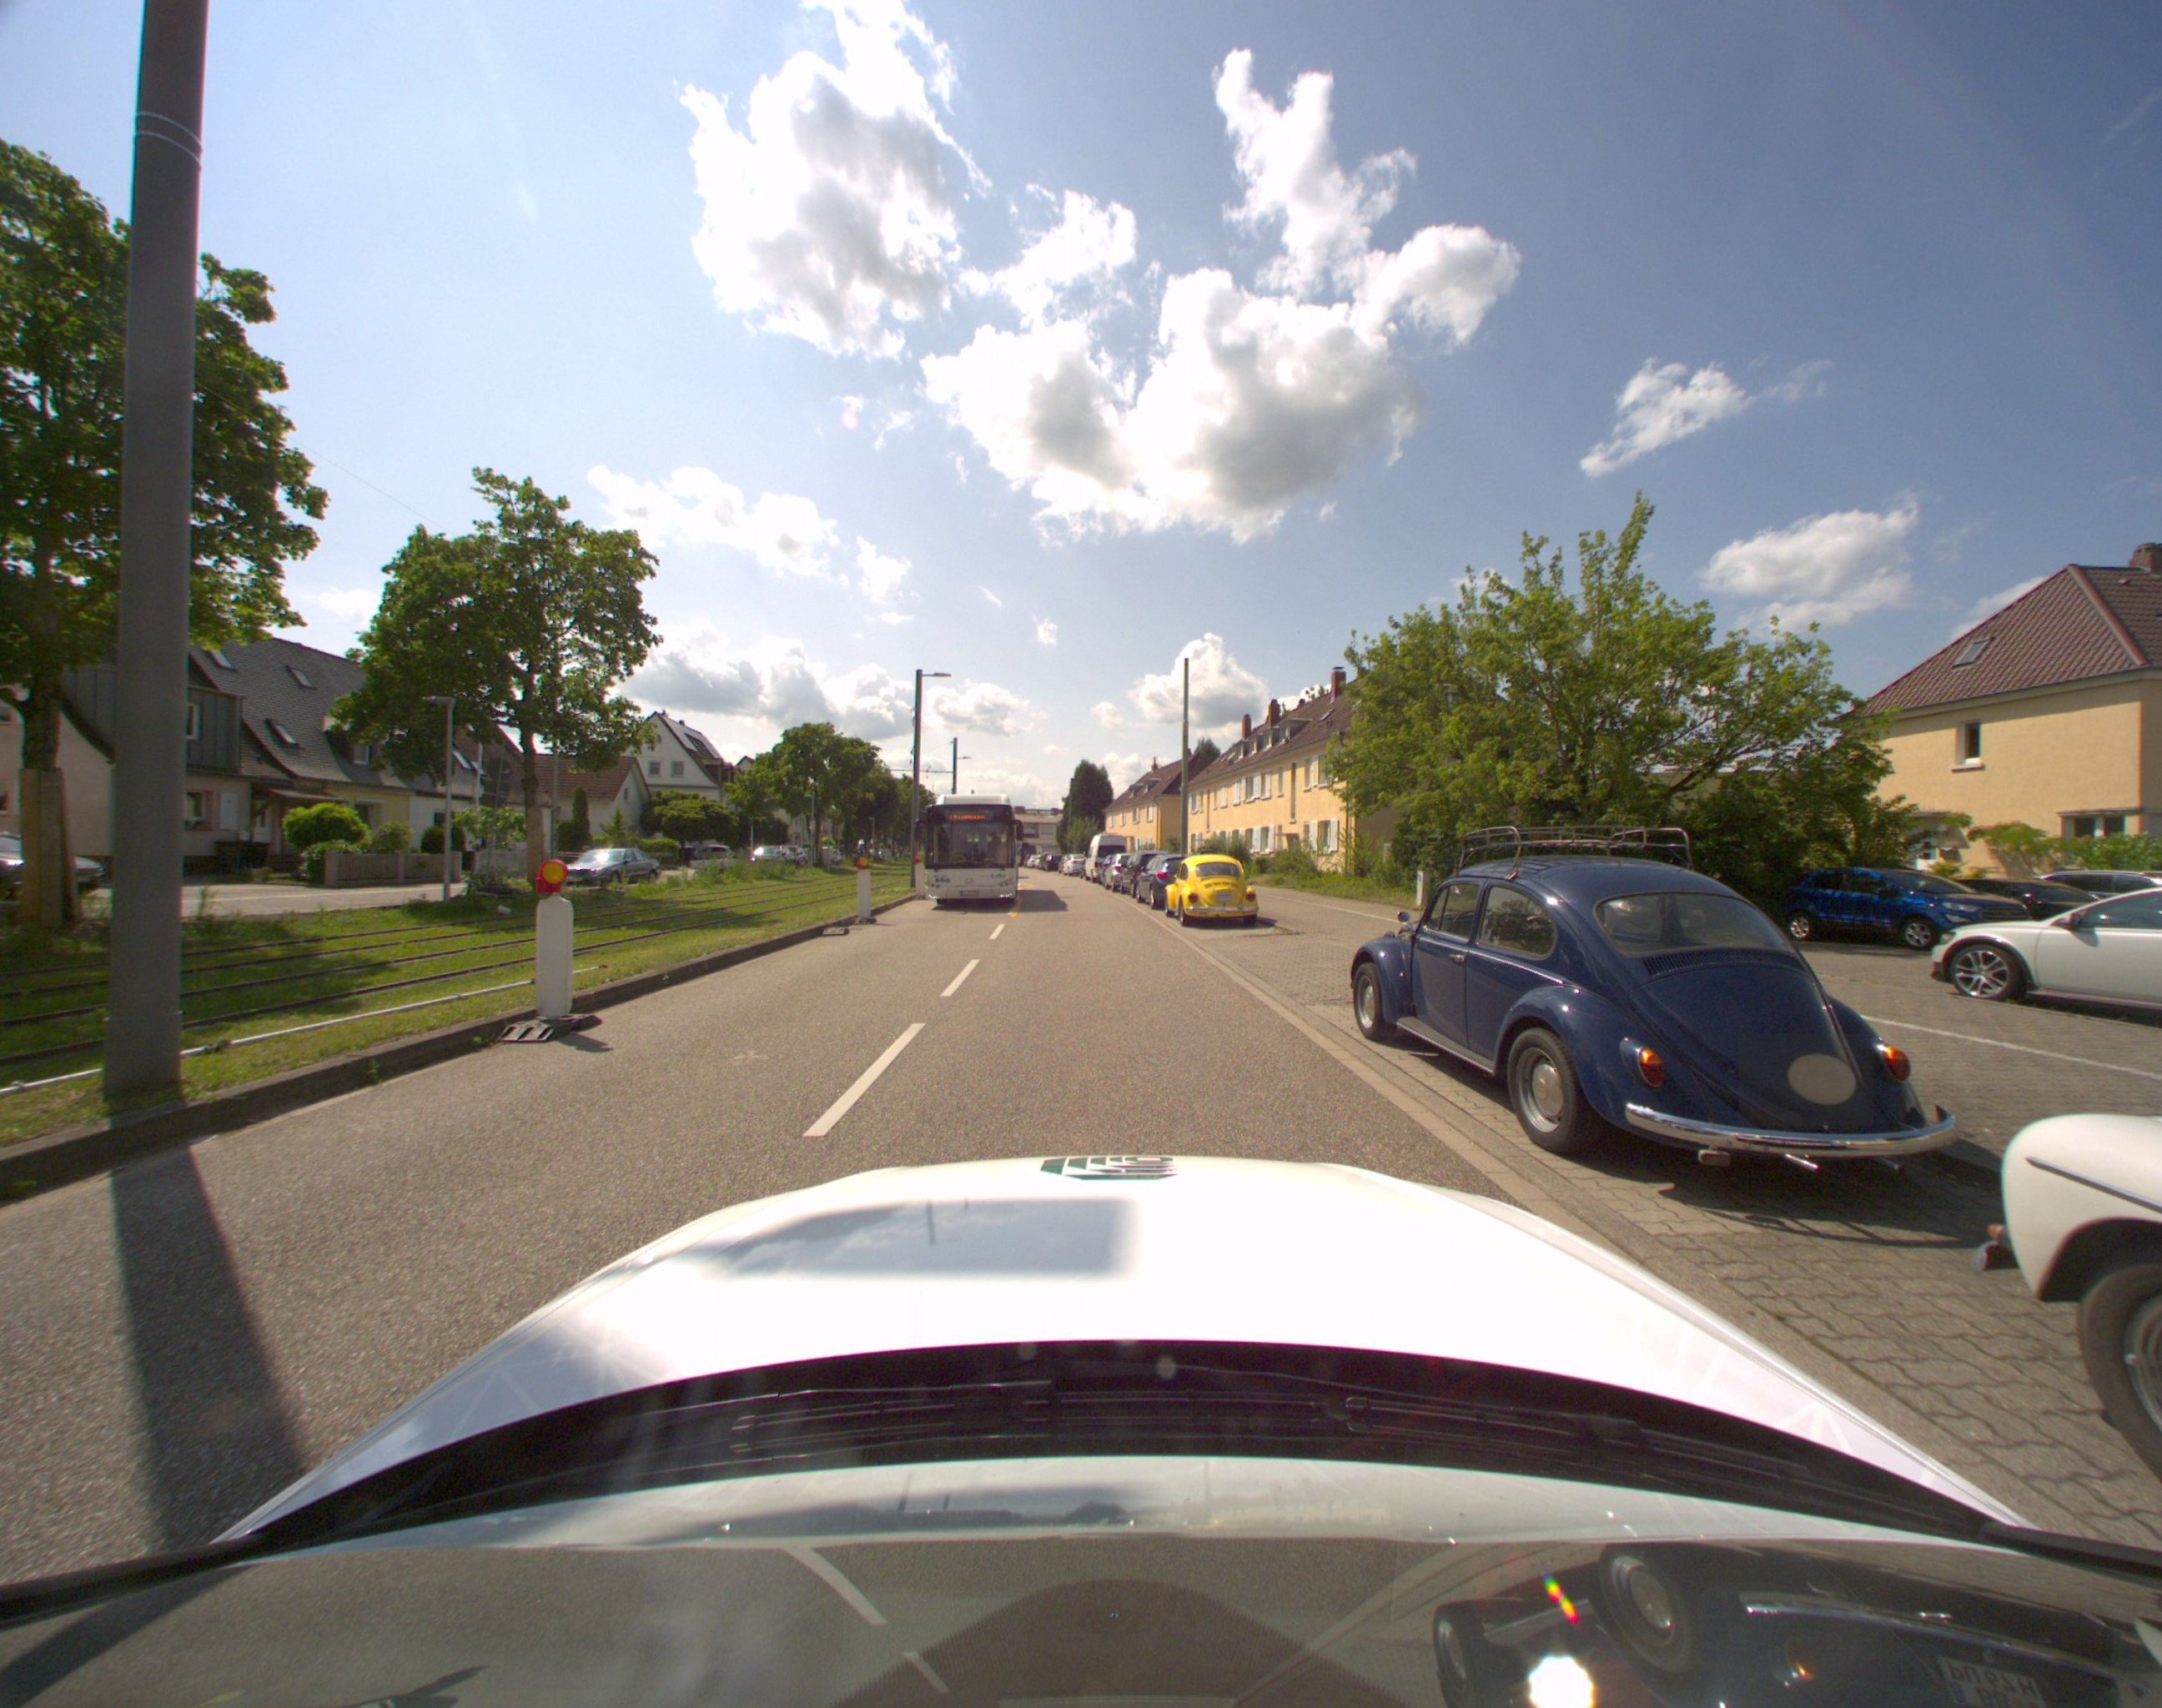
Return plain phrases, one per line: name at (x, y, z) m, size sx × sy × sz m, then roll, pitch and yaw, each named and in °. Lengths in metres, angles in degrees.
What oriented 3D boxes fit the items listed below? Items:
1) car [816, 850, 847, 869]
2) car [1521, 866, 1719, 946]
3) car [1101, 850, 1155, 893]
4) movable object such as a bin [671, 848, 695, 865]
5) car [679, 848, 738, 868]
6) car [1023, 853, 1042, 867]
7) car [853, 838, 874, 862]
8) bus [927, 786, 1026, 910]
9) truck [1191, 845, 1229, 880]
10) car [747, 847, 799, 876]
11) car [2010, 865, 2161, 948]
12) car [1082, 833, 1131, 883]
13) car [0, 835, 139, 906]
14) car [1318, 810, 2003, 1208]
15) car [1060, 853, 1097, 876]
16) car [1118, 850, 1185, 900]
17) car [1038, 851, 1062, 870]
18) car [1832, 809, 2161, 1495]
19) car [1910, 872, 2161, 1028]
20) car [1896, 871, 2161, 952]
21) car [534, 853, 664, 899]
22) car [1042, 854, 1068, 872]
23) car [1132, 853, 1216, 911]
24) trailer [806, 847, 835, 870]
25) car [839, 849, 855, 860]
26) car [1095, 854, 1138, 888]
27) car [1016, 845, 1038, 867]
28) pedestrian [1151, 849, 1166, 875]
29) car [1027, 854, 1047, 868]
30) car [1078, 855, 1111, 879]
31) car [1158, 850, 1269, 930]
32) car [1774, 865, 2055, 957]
car at (-20.934, 0.470, 68.408) m, size 1.727 × 1.505 × 4.555 m, roll -1°, pitch 0°, yaw -8°
car at (10.798, 0.964, 16.692) m, size 1.628 × 1.355 × 4.093 m, roll 1°, pitch 0°, yaw 5°
car at (1.838, 0.668, 32.850) m, size 1.633 × 1.602 × 4.023 m, roll 1°, pitch 0°, yaw -4°
movable object such as a bin at (-30.718, 0.201, 62.932) m, size 1.358 × 1.329 × 1.086 m, roll 1°, pitch 0°, yaw -7°
car at (-29.707, 0.299, 65.062) m, size 3.989 × 1.571 × 1.788 m, roll 1°, pitch 0°, yaw -12°
car at (-5.459, 0.693, 90.846) m, size 1.763 × 1.502 × 3.988 m, roll -1°, pitch 0°, yaw -9°
car at (-25.946, -0.426, 97.367) m, size 2.076 × 2.721 × 6.972 m, roll -1°, pitch 0°, yaw -13°
bus at (-3.309, -0.177, 28.720) m, size 2.631 × 3.412 × 12.232 m, roll -1°, pitch 0°, yaw -3°
truck at (6.453, 0.405, 40.854) m, size 1.344 × 1.688 × 2.437 m, roll 1°, pitch -1°, yaw -5°
car at (-17.797, 0.395, 47.252) m, size 1.810 × 1.586 × 4.555 m, roll -1°, pitch 0°, yaw -8°
car at (22.347, 1.084, 16.825) m, size 1.631 × 1.665 × 4.086 m, roll 1°, pitch -2°, yaw 0°
car at (1.258, 0.195, 42.812) m, size 1.926 × 2.481 × 5.507 m, roll 0°, pitch 0°, yaw -5°
car at (-24.755, 0.321, 18.381) m, size 4.461 × 1.523 × 1.923 m, roll 1°, pitch 0°, yaw -4°
car at (3.048, 0.651, 5.514) m, size 1.544 × 1.641 × 4.244 m, roll 1°, pitch 0°, yaw -2°
car at (-0.208, 0.730, 55.429) m, size 1.798 × 1.458 × 4.750 m, roll -1°, pitch -1°, yaw -9°
car at (2.403, 0.689, 28.688) m, size 1.634 × 1.602 × 3.923 m, roll 1°, pitch 0°, yaw -6°
car at (-2.850, 0.605, 74.781) m, size 1.763 × 1.643 × 3.988 m, roll -1°, pitch 0°, yaw -9°
car at (3.142, 0.665, 0.373) m, size 1.571 × 1.513 × 4.461 m, roll 1°, pitch 0°, yaw 1°
car at (10.668, 0.905, 7.592) m, size 1.632 × 1.374 × 4.083 m, roll 1°, pitch 0°, yaw -3°
car at (19.729, 1.098, 16.867) m, size 1.631 × 1.401 × 4.087 m, roll 1°, pitch -1°, yaw 0°
car at (-16.418, 0.695, 28.065) m, size 1.816 × 1.406 × 4.806 m, roll 1°, pitch 0°, yaw -4°
car at (-2.233, 0.754, 69.675) m, size 1.763 × 1.417 × 3.988 m, roll -1°, pitch 0°, yaw -9°
car at (2.556, 0.725, 23.247) m, size 1.633 × 1.482 × 4.118 m, roll 1°, pitch 0°, yaw -4°
trailer at (-19.805, 0.338, 62.026) m, size 1.565 × 1.678 × 3.362 m, roll 1°, pitch 0°, yaw -9°
car at (-37.059, 0.090, 129.194) m, size 1.878 × 1.553 × 4.383 m, roll 1°, pitch -1°, yaw -9°
car at (1.593, 0.746, 37.460) m, size 1.533 × 1.445 × 3.732 m, roll 1°, pitch 0°, yaw -4°
car at (-6.489, 0.219, 96.841) m, size 1.959 × 2.478 × 6.040 m, roll -1°, pitch 0°, yaw -10°
pedestrian at (4.942, 0.495, 52.195) m, size 0.852 × 1.652 × 0.636 m, roll 1°, pitch 0°, yaw -4°
car at (-4.678, 0.727, 85.741) m, size 1.763 × 1.439 × 3.988 m, roll -1°, pitch 0°, yaw -9°
car at (0.757, 0.749, 47.663) m, size 1.341 × 1.340 × 3.277 m, roll 1°, pitch -1°, yaw -9°
car at (2.784, 0.700, 17.892) m, size 1.632 × 1.482 × 3.928 m, roll -2°, pitch 1°, yaw -2°
car at (16.965, 1.072, 16.920) m, size 1.631 × 1.547 × 4.087 m, roll -2°, pitch 0°, yaw 0°
